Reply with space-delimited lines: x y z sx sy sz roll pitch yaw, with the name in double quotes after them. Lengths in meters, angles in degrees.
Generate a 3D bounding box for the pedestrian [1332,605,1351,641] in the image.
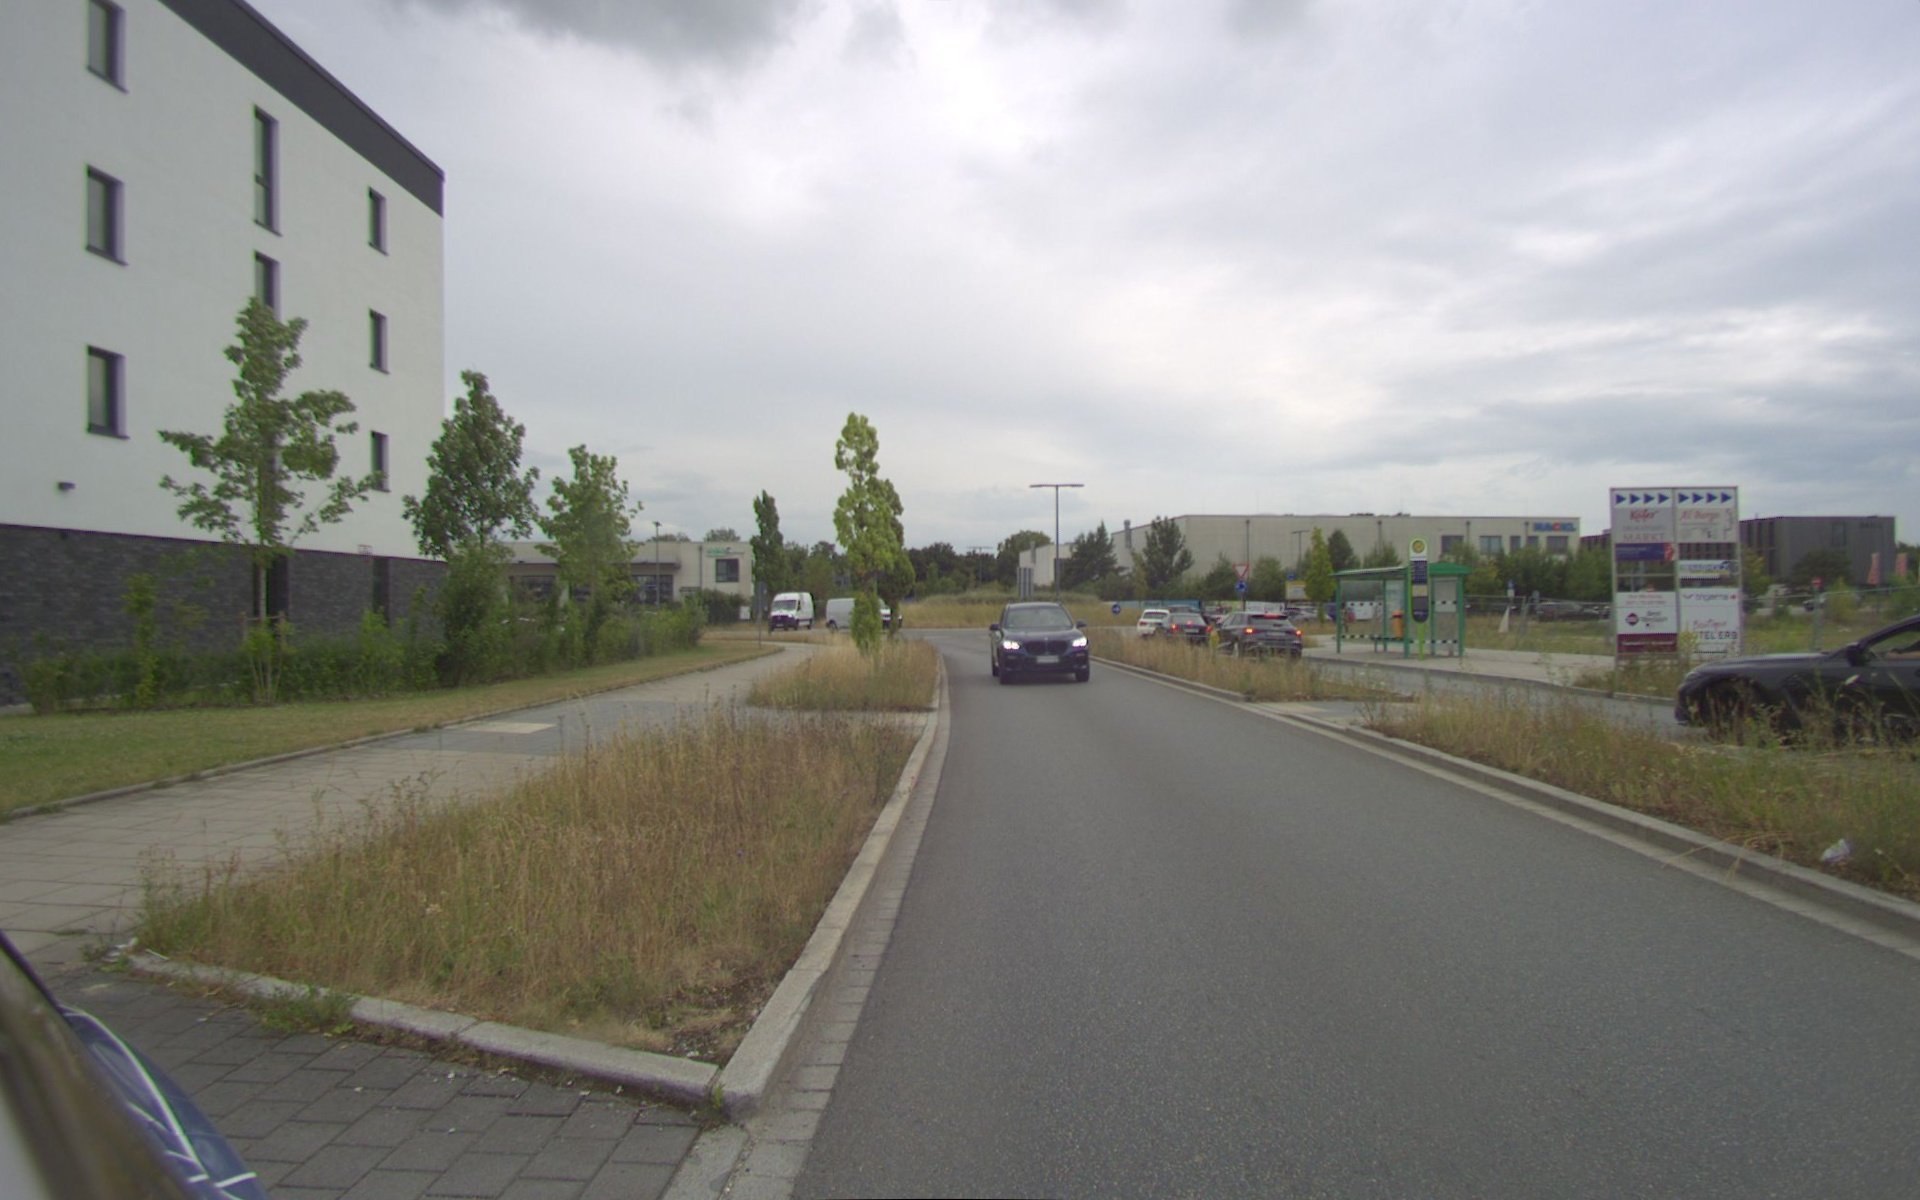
18.617 1.104 49.388 0.741 1.735 0.643 0 0 35 "pedestrian"

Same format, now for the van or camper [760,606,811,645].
-12.048 1.734 70.325 1.977 2.601 5.452 0 0 8 "van or camper"

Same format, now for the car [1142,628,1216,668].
8.457 1.822 39.433 1.765 1.406 4.373 1 -1 -2 "car"

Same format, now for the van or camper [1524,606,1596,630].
45.340 1.333 76.536 4.497 1.762 2.005 0 0 -11 "van or camper"

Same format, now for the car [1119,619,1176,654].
8.734 1.688 47.365 1.732 1.492 4.058 0 0 -3 "car"

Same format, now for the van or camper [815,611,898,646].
-5.858 1.606 56.940 4.843 1.905 1.955 -2 -1 44 "van or camper"

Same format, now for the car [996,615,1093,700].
1.729 1.155 21.815 1.869 1.652 3.997 -1 -1 2 "car"

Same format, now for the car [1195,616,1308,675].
8.244 1.239 28.987 1.771 1.477 4.323 -1 0 -3 "car"

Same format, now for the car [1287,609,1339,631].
23.407 1.323 66.968 1.719 1.353 4.005 -1 0 44 "car"

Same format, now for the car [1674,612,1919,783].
9.325 0.843 8.906 1.755 1.456 4.624 -1 -1 -29 "car"
